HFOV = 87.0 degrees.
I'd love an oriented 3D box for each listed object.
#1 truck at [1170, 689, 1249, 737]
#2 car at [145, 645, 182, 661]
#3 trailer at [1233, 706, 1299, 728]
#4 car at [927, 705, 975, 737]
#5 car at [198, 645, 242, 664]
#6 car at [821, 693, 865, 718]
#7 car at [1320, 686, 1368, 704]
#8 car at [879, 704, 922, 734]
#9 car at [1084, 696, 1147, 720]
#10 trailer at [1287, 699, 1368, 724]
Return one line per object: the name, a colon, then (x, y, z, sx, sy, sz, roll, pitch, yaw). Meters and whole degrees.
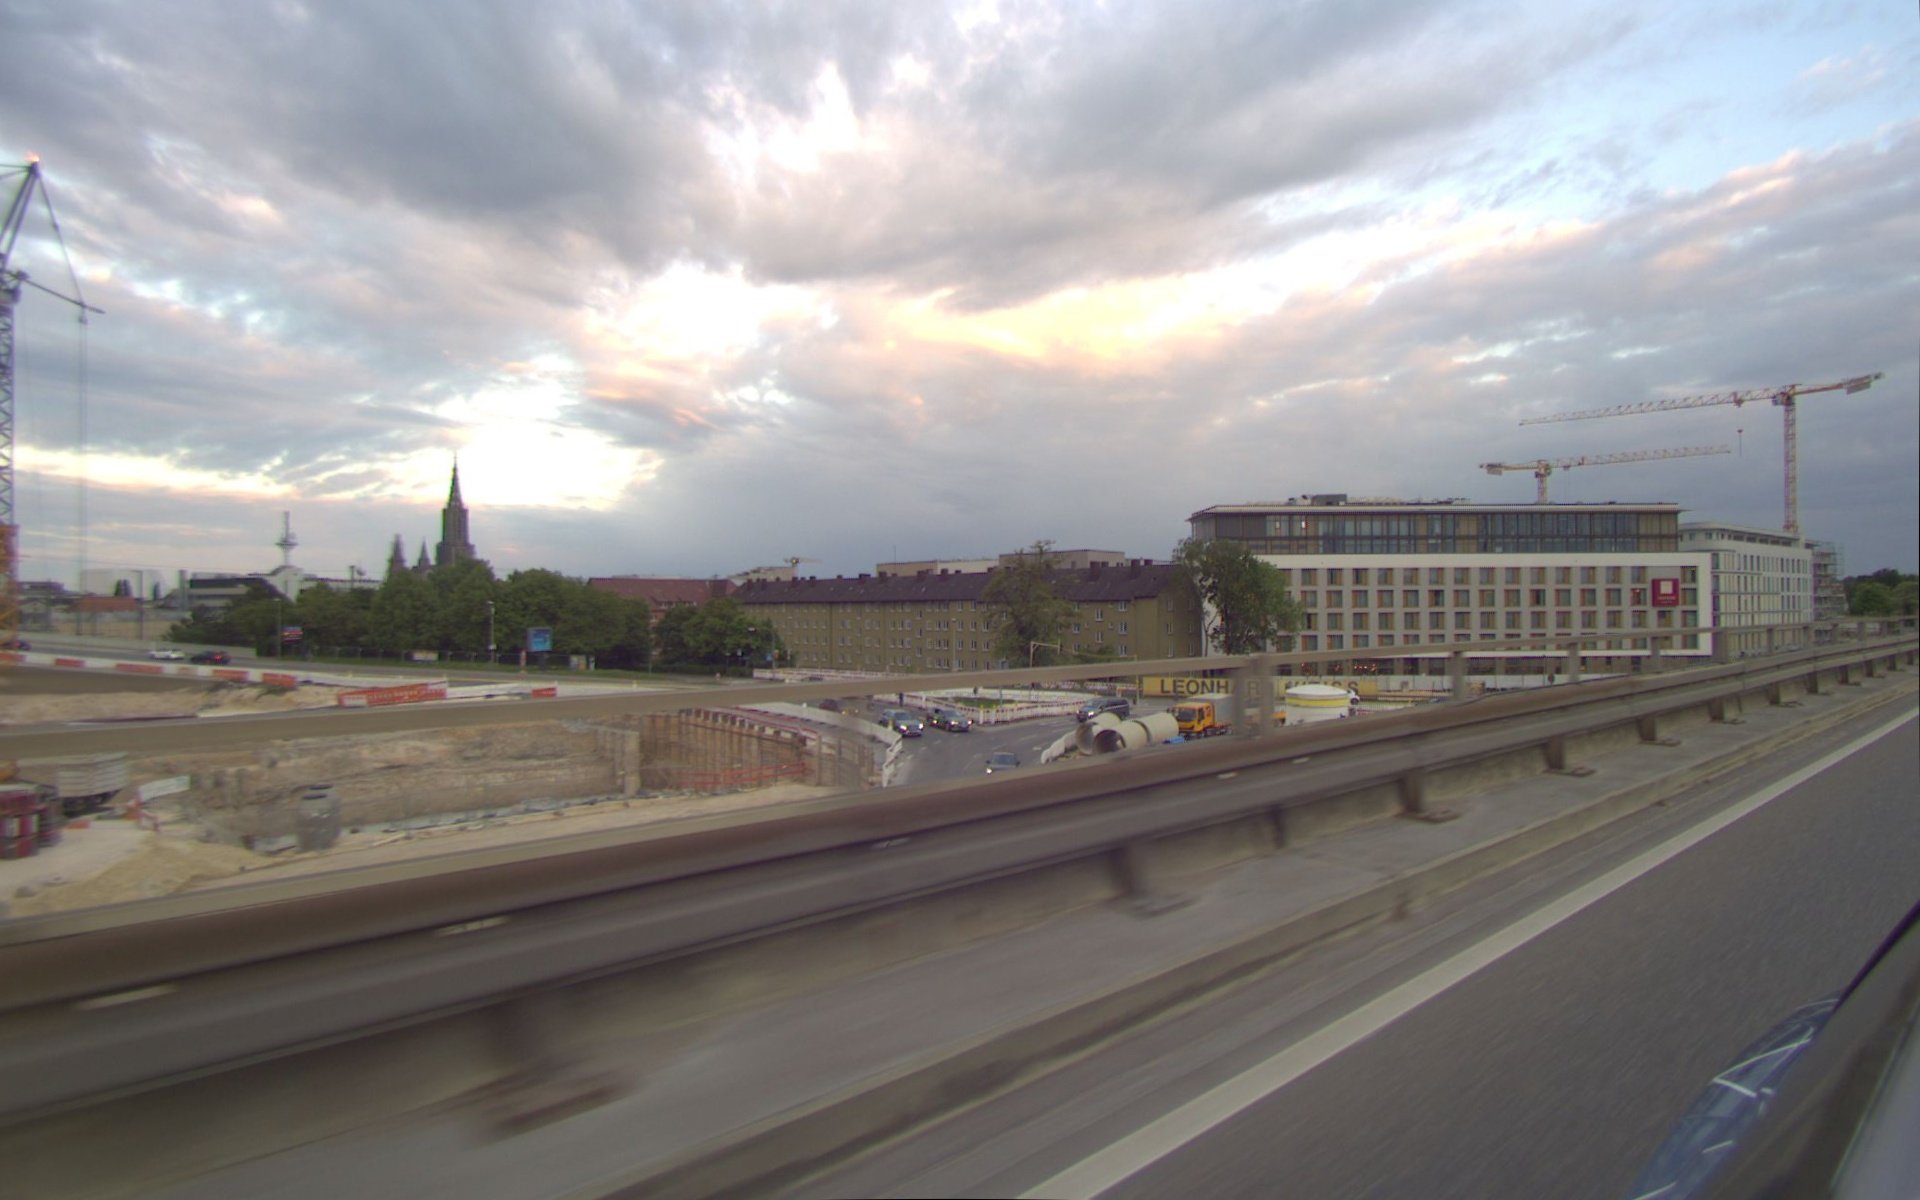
truck: (18.254, 8.176, 73.812, 2.157, 2.987, 7.218, -4, -4, 44)
car: (-97.937, 6.520, 124.438, 3.648, 1.762, 1.588, 1, -4, 12)
trailer: (23.782, 9.058, 78.492, 5.768, 1.366, 1.996, 1, -6, -40)
car: (-0.694, 8.985, 75.478, 1.768, 1.741, 4.106, -3, 2, -30)
car: (-88.243, 6.520, 120.705, 3.938, 2.040, 1.991, 2, -4, 12)
car: (-9.352, 8.411, 80.813, 1.622, 1.639, 3.757, 0, 0, -44)
car: (36.827, 9.119, 97.120, 3.937, 1.461, 1.906, 1, -2, 11)
car: (-4.261, 8.422, 71.883, 1.612, 1.761, 3.799, 0, -1, -26)
car: (12.801, 8.839, 83.279, 4.988, 1.903, 2.001, 3, -6, -29)
trailer: (29.150, 8.833, 80.300, 5.826, 1.365, 2.004, 0, 0, 32)
